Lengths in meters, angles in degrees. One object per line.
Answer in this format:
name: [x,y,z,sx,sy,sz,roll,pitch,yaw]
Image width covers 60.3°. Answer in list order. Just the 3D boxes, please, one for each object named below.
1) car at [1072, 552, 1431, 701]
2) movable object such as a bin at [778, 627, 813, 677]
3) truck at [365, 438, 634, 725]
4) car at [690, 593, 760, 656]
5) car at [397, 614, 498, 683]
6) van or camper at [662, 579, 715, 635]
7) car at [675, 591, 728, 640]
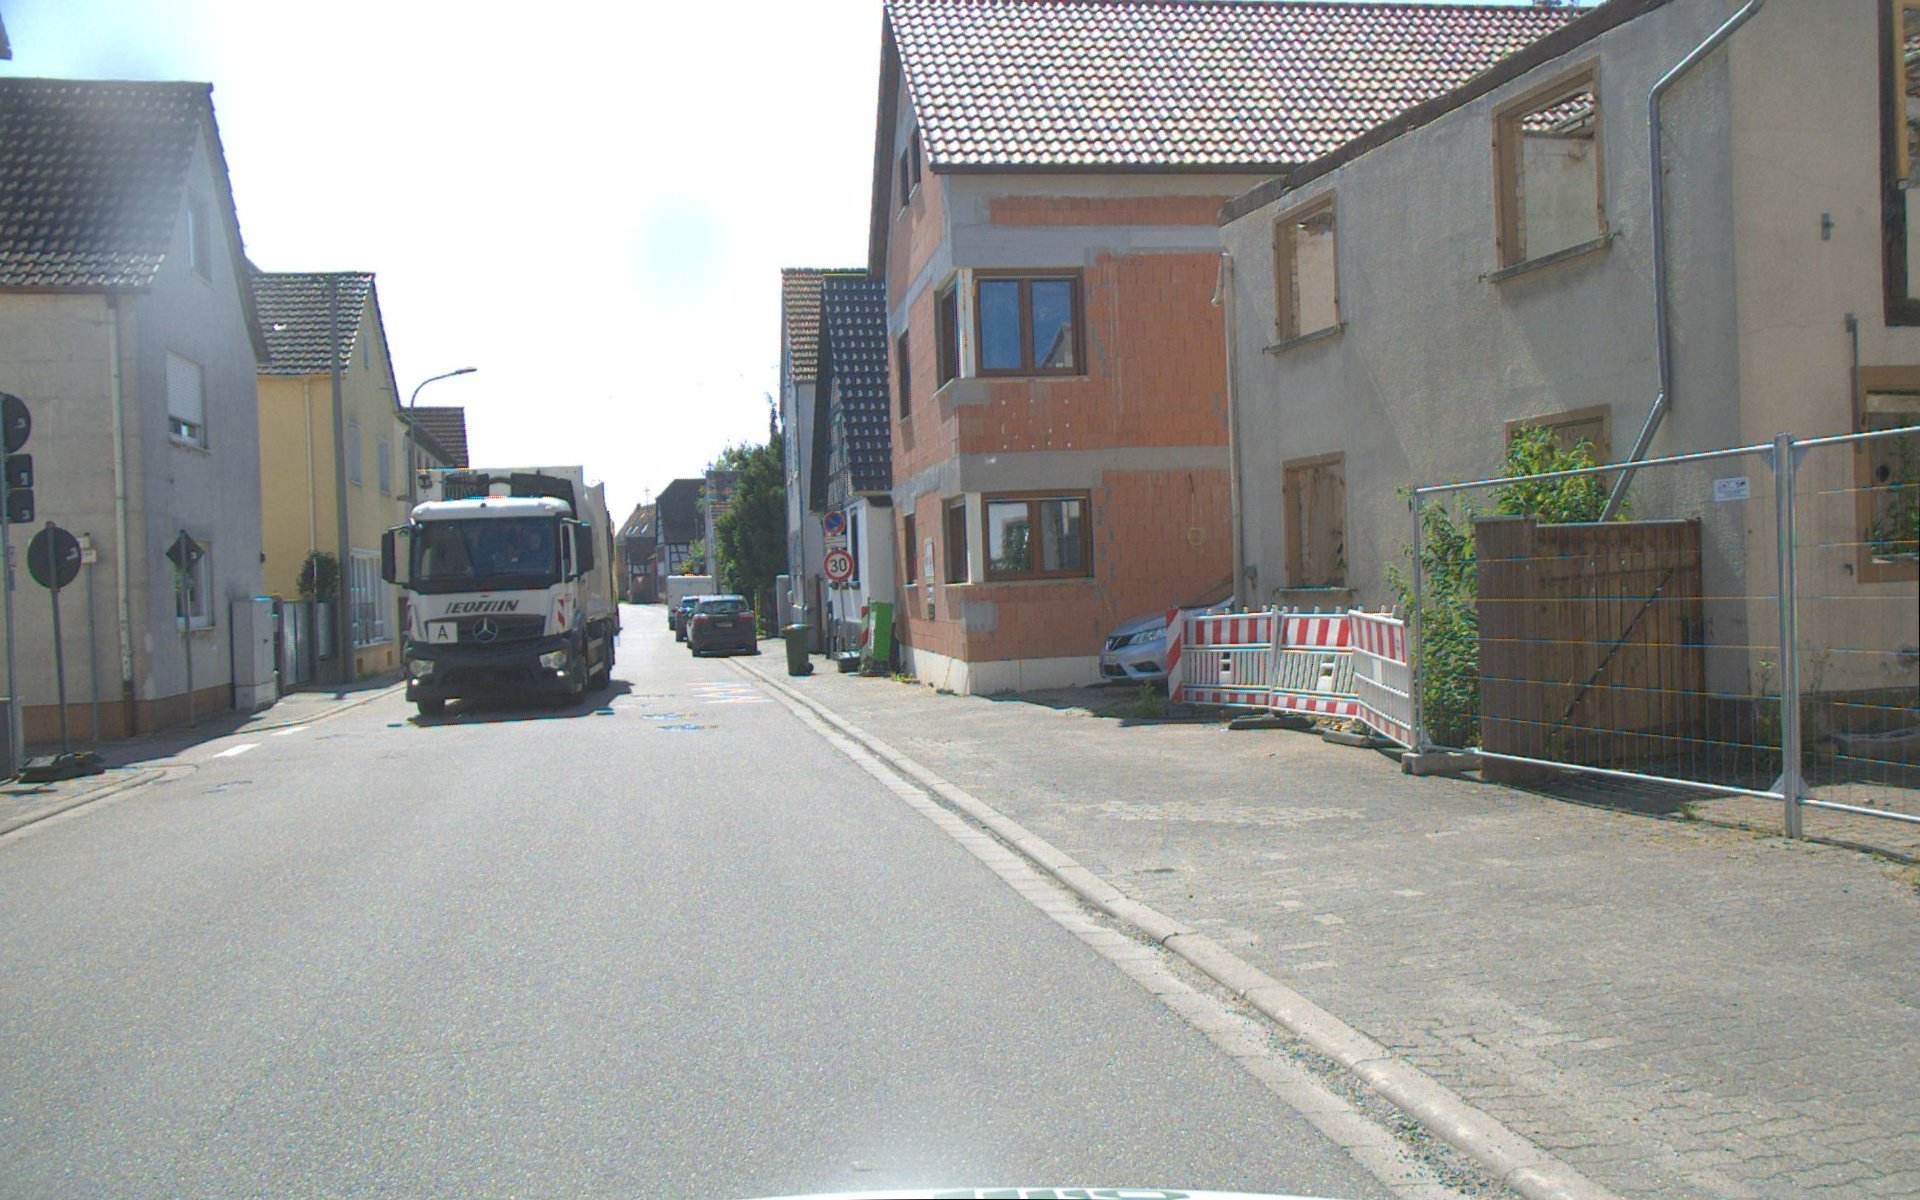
car: [3.643,0.298,20.887,4.023,1.533,1.862,-4,0,-16]
movable object such as a bin: [-3.177,1.001,31.971,0.526,0.929,0.552,-3,0,6]
truck: [-7.426,-0.285,28.292,2.645,3.815,10.851,-3,1,-7]
car: [-6.671,0.664,46.621,1.765,1.587,4.620,-3,0,-10]
car: [-12.286,1.128,39.860,1.802,1.489,4.259,-2,0,-11]
van or camper: [-14.199,0.363,86.356,2.477,2.743,4.542,-3,0,-11]
car: [-9.745,0.554,62.634,1.760,1.659,4.354,-3,1,-7]
